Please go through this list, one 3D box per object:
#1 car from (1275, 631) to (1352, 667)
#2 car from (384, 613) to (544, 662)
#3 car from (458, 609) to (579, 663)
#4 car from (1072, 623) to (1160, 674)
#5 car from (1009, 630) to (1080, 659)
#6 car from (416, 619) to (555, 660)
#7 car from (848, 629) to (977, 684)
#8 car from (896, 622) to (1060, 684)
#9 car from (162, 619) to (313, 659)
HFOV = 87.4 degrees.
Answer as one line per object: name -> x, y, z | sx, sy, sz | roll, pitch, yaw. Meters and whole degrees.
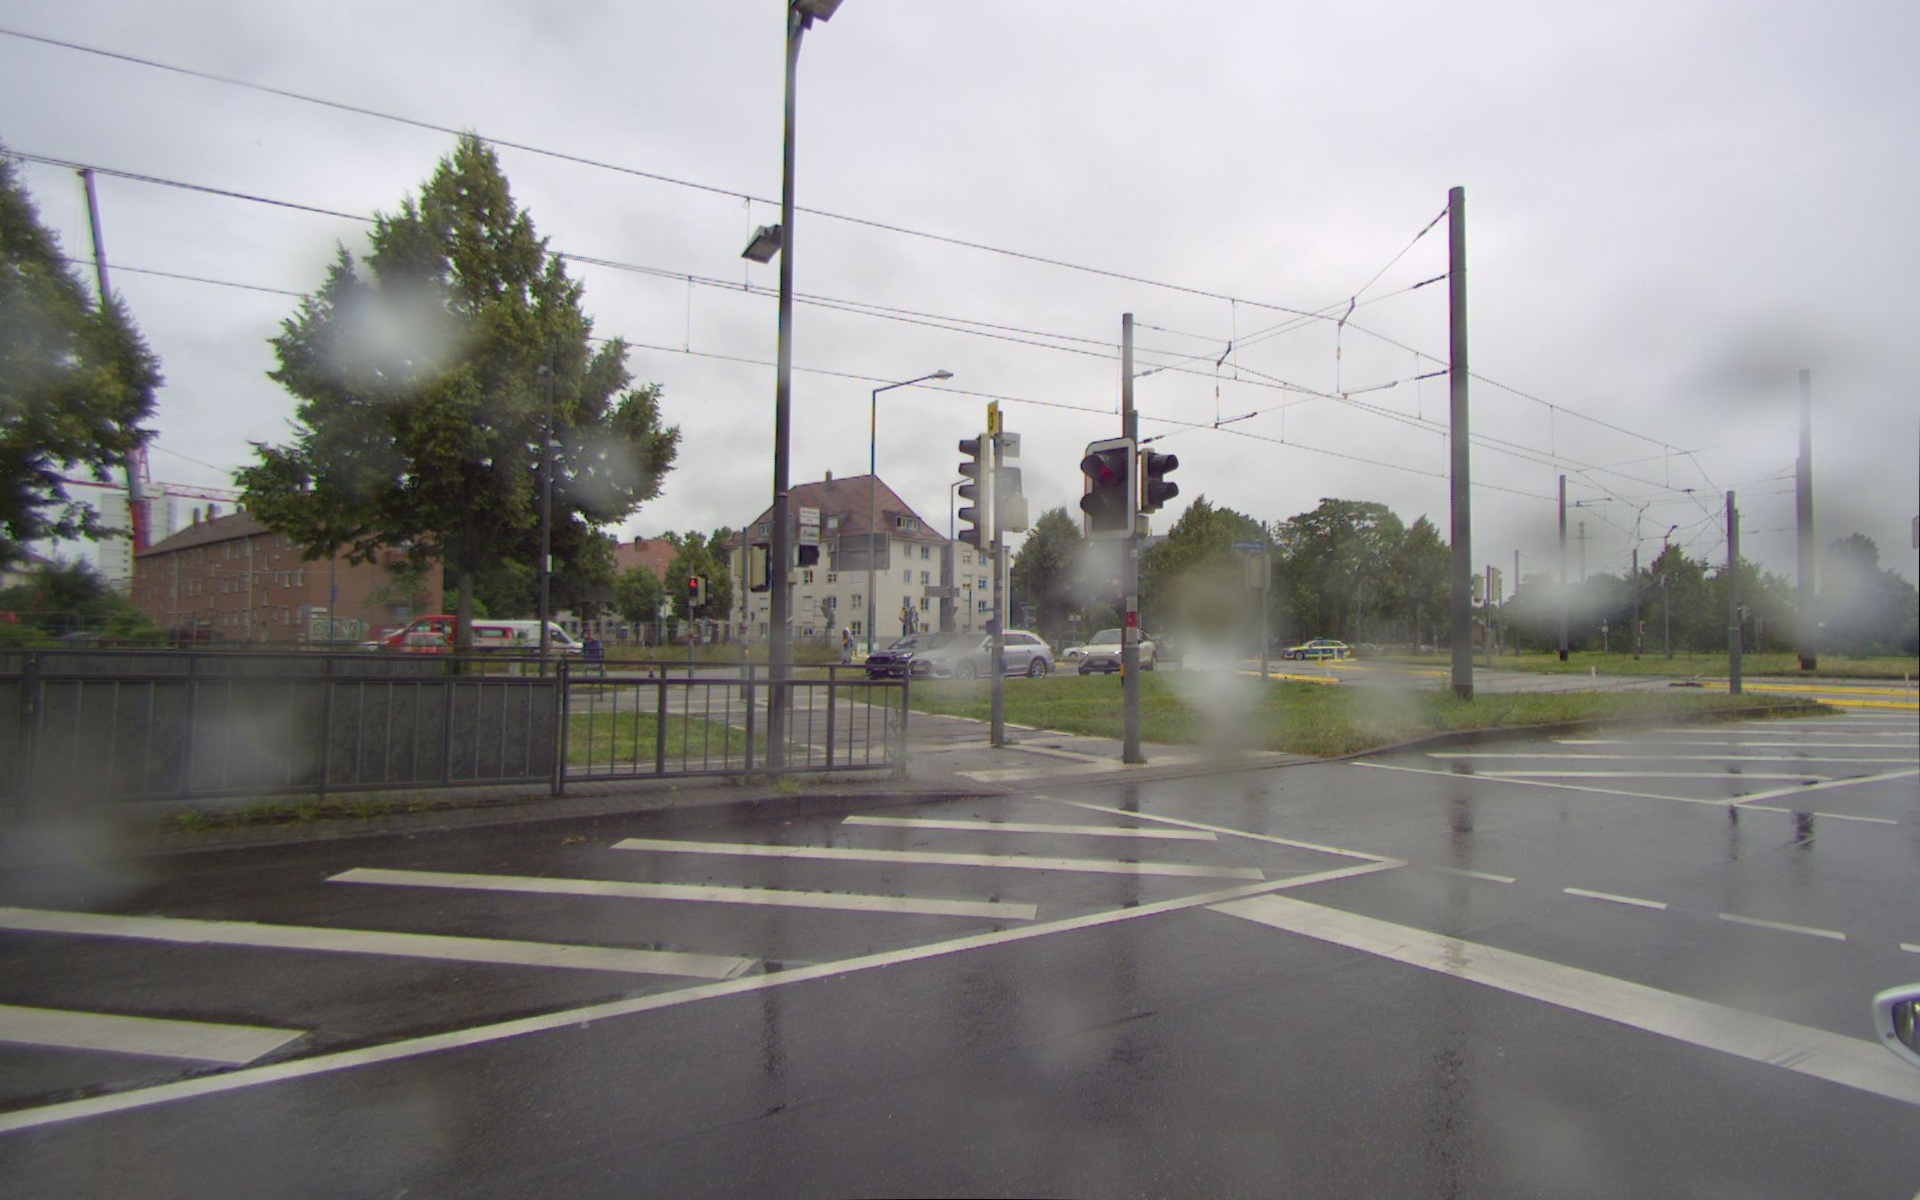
car -> 25.247, 3.494, 71.732 | 4.750, 2.358, 1.998 | 2, 0, -6
car -> -22.736, 1.721, 46.385 | 6.329, 2.040, 2.346 | 2, 0, -20
car -> -26.135, 2.152, 59.752 | 6.329, 2.978, 2.346 | 2, 0, -20
car -> 5.325, 1.570, 33.821 | 1.817, 1.506, 4.222 | 2, 0, 25
car -> 6.137, 3.182, 72.752 | 4.747, 1.835, 1.999 | 2, 0, 22
car -> -24.827, 2.073, 52.894 | 6.329, 2.040, 2.347 | 1, -2, -20
car -> -1.406, 1.694, 31.102 | 1.803, 1.506, 3.983 | 2, 0, 38
car -> 0.572, 1.393, 27.439 | 1.806, 1.506, 4.597 | 2, 0, 45
car -> -39.471, 2.110, 55.033 | 2.325, 2.040, 6.388 | 2, 0, 44
